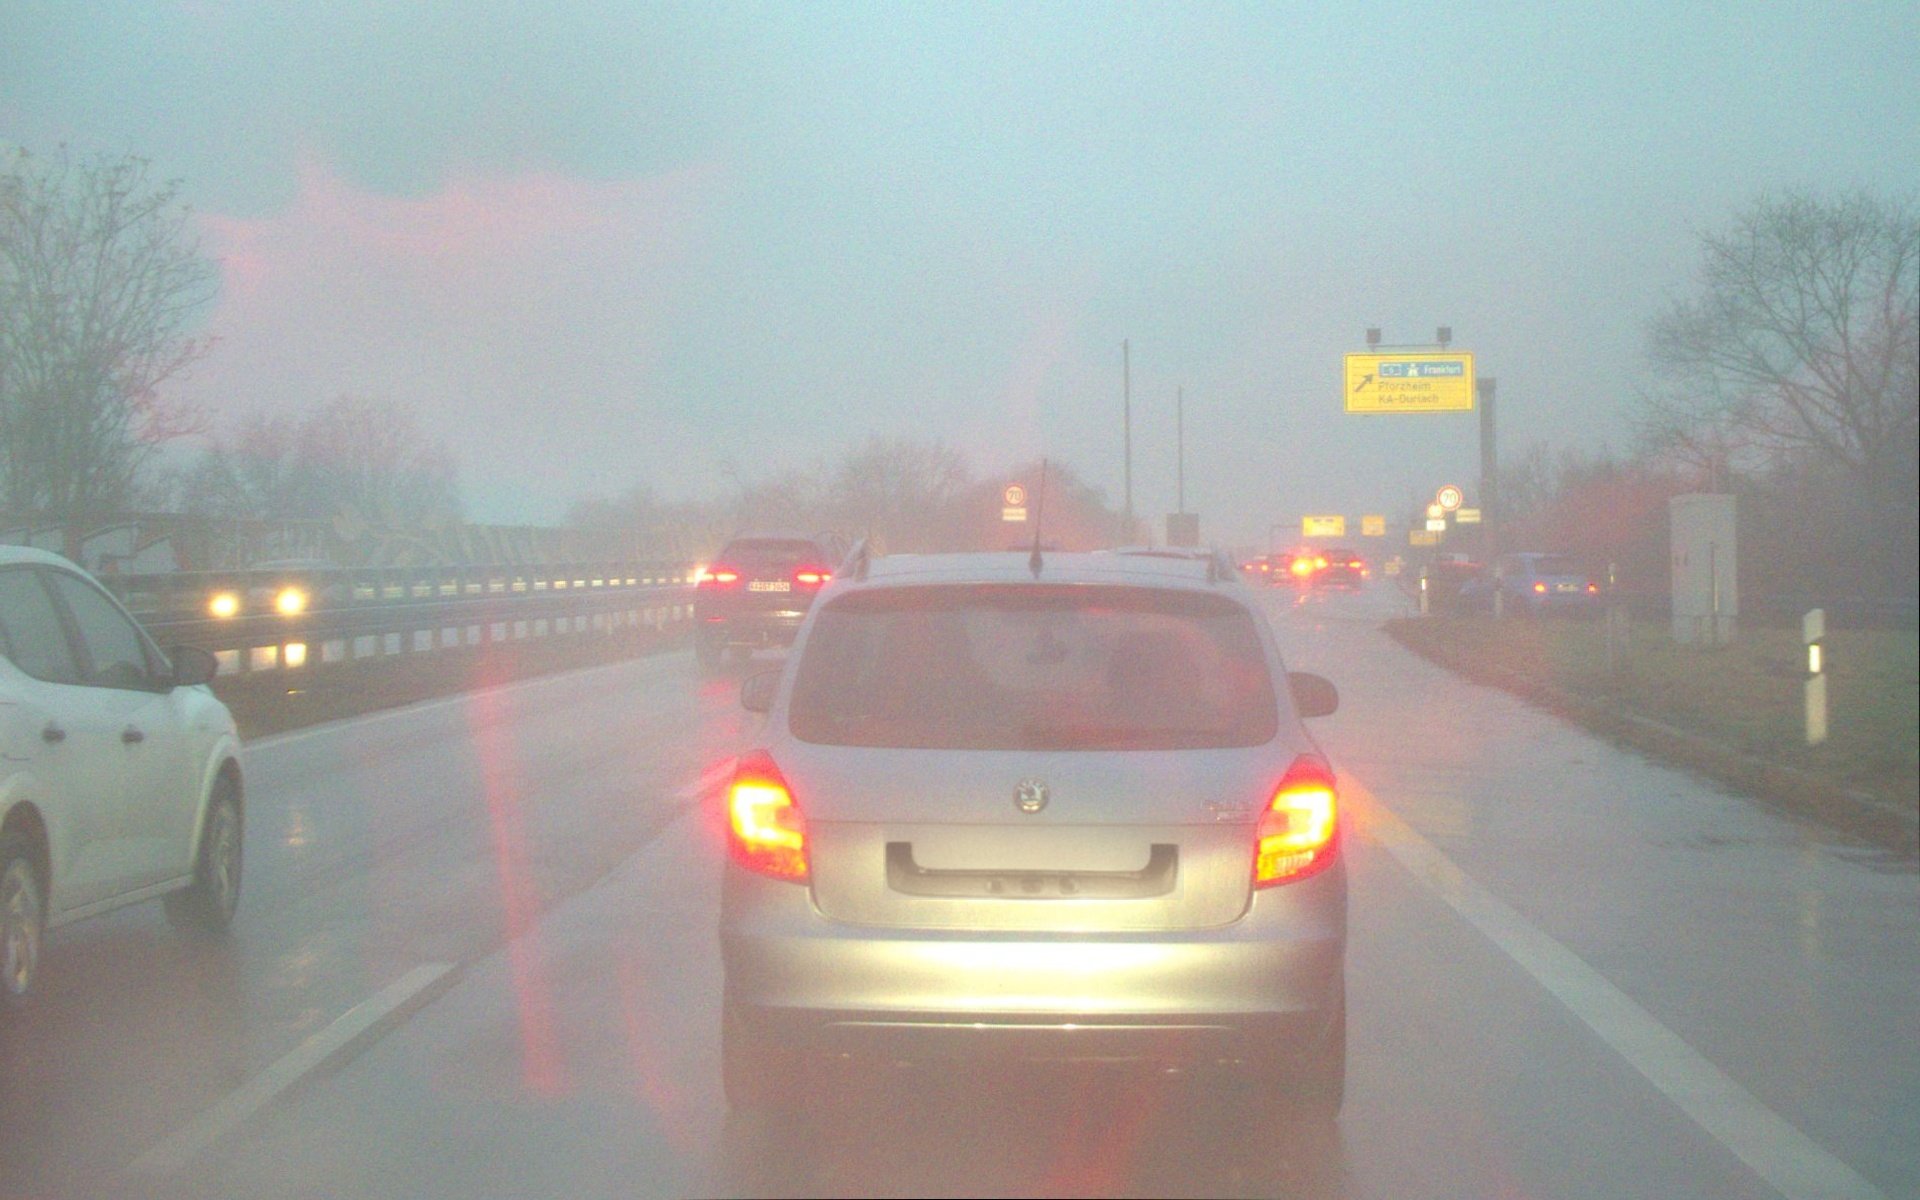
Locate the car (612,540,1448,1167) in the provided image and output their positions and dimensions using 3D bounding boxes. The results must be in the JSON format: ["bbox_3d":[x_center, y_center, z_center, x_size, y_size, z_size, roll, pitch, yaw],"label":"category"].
[{"bbox_3d":[0.223,0.590,10.309,1.993,1.495,4.137,0,1,2],"label":"car"}]

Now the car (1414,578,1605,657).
[{"bbox_3d":[11.188,0.330,70.264,1.789,1.540,4.000,-1,1,-28],"label":"car"}]

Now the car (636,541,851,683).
[{"bbox_3d":[-2.577,0.100,42.024,1.994,1.596,4.308,1,1,5],"label":"car"}]

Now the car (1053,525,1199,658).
[{"bbox_3d":[2.365,-0.144,48.005,1.897,1.761,4.308,0,1,4],"label":"car"}]

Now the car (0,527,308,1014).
[{"bbox_3d":[-3.613,0.490,11.908,1.724,1.435,4.225,0,1,3],"label":"car"}]

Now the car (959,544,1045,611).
[{"bbox_3d":[1.033,-0.557,82.539,1.789,1.540,4.000,0,1,4],"label":"car"}]
